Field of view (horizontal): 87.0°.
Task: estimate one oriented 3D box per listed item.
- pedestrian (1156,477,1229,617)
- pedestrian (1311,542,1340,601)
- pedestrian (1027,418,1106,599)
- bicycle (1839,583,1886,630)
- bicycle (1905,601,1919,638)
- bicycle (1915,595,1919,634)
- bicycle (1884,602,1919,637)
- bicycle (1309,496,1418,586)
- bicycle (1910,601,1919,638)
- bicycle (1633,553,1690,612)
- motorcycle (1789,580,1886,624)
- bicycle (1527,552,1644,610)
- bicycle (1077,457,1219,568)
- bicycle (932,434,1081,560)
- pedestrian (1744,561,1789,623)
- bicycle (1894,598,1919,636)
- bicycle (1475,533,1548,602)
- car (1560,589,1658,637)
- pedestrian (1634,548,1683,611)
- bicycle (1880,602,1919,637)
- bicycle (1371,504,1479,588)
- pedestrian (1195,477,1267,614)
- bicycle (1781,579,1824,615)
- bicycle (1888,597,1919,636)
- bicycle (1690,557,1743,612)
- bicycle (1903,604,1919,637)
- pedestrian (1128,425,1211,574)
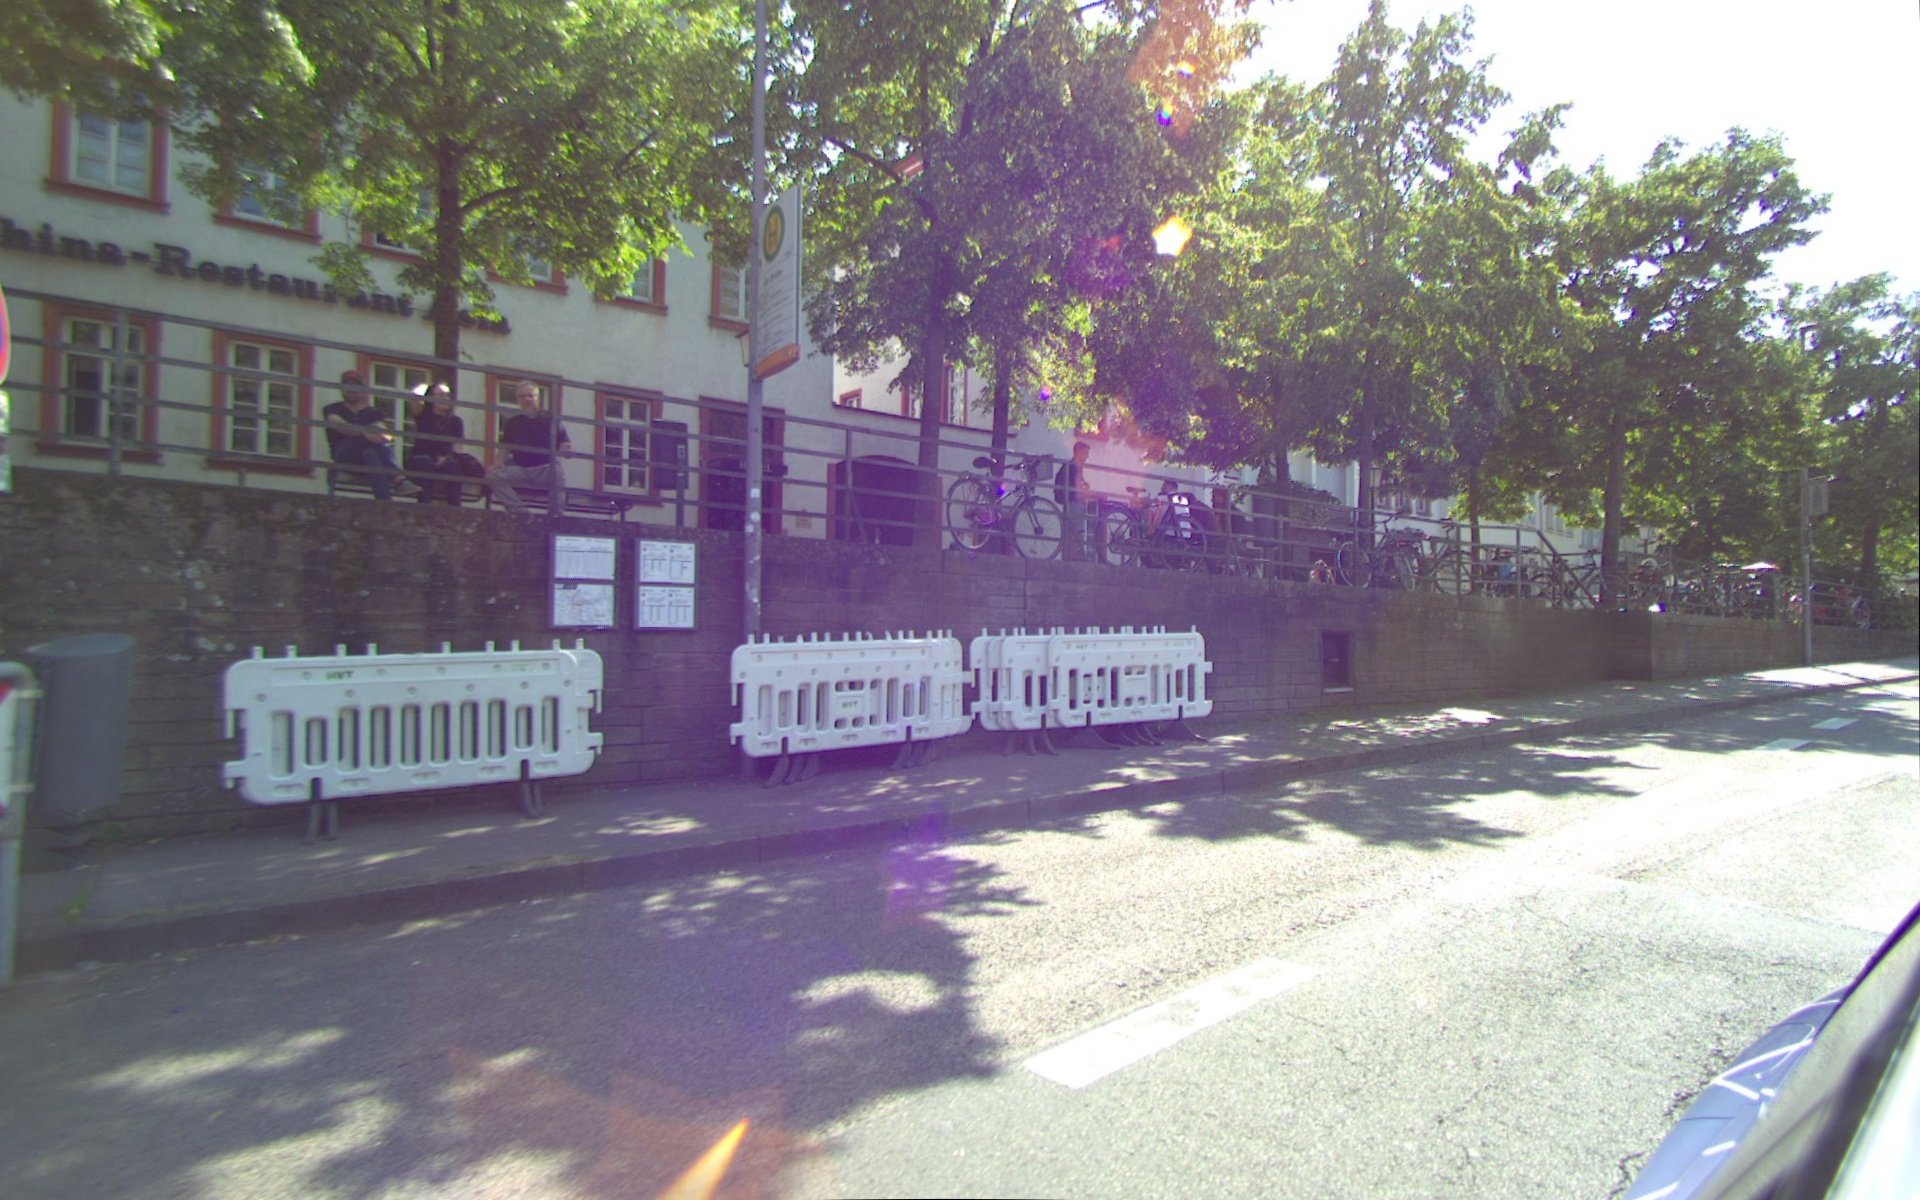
[{"bbox_3d":[2.988,-0.657,13.046,0.562,1.743,0.721,1,-1,-35],"label":"pedestrian"},{"bbox_3d":[9.956,-0.762,27.564,0.596,1.565,0.469,1,-3,-33],"label":"pedestrian"},{"bbox_3d":[1.361,-1.132,12.962,0.698,2.217,0.721,1,-1,-35],"label":"pedestrian"},{"bbox_3d":[22.537,0.169,25.263,1.881,1.126,0.345,1,-1,-31],"label":"bicycle"},{"bbox_3d":[33.780,0.710,34.530,0.467,1.277,2.163,1,1,-34],"label":"bicycle"},{"bbox_3d":[27.747,0.446,28.841,2.120,1.062,0.302,2,0,-34],"label":"bicycle"},{"bbox_3d":[32.173,0.668,33.737,0.467,1.126,1.969,1,1,-34],"label":"bicycle"},{"bbox_3d":[5.453,-0.772,13.636,1.700,1.120,0.411,1,-1,-30],"label":"bicycle"},{"bbox_3d":[34.203,0.715,34.791,0.467,1.277,2.163,1,1,-34],"label":"bicycle"},{"bbox_3d":[13.125,-0.313,18.915,1.825,1.017,0.299,2,-1,-36],"label":"bicycle"},{"bbox_3d":[23.577,0.040,27.220,0.565,1.112,1.918,1,1,-42],"label":"motorcycle"},{"bbox_3d":[11.520,-0.335,18.708,0.293,1.017,1.859,2,-1,-37],"label":"bicycle"},{"bbox_3d":[2.120,-0.942,11.299,1.700,1.120,0.412,1,0,-30],"label":"bicycle"},{"bbox_3d":[0.501,-0.999,10.234,1.705,1.120,0.410,1,0,-43],"label":"bicycle"},{"bbox_3d":[18.829,-0.185,23.636,0.684,1.433,0.669,1,-1,-36],"label":"pedestrian"},{"bbox_3d":[33.052,0.617,34.161,0.413,1.277,2.163,1,1,-34],"label":"bicycle"},{"bbox_3d":[9.922,-0.560,18.177,1.897,1.155,0.383,2,-1,-36],"label":"bicycle"},{"bbox_3d":[27.444,0.563,42.733,4.644,1.823,1.838,3,-2,-35],"label":"car"},{"bbox_3d":[14.651,-0.420,21.228,0.657,1.281,0.696,1,-1,-39],"label":"pedestrian"},{"bbox_3d":[31.804,0.668,33.463,0.415,1.114,1.956,1,1,-34],"label":"bicycle"},{"bbox_3d":[6.759,-0.754,14.666,1.885,1.120,0.411,1,-1,-30],"label":"bicycle"},{"bbox_3d":[3.556,-0.692,13.303,0.562,1.743,0.721,1,-1,-35],"label":"pedestrian"},{"bbox_3d":[19.151,-0.058,22.981,1.883,0.794,0.350,1,-1,-38],"label":"bicycle"},{"bbox_3d":[32.645,0.587,33.951,0.467,1.277,2.163,1,1,-34],"label":"bicycle"},{"bbox_3d":[14.941,-0.288,19.975,1.904,1.017,0.299,2,-1,-36],"label":"bicycle"},{"bbox_3d":[33.399,0.742,34.336,0.332,1.106,2.031,2,1,-34],"label":"bicycle"},{"bbox_3d":[2.596,-1.210,12.563,0.698,1.743,0.721,1,-1,-35],"label":"pedestrian"}]
